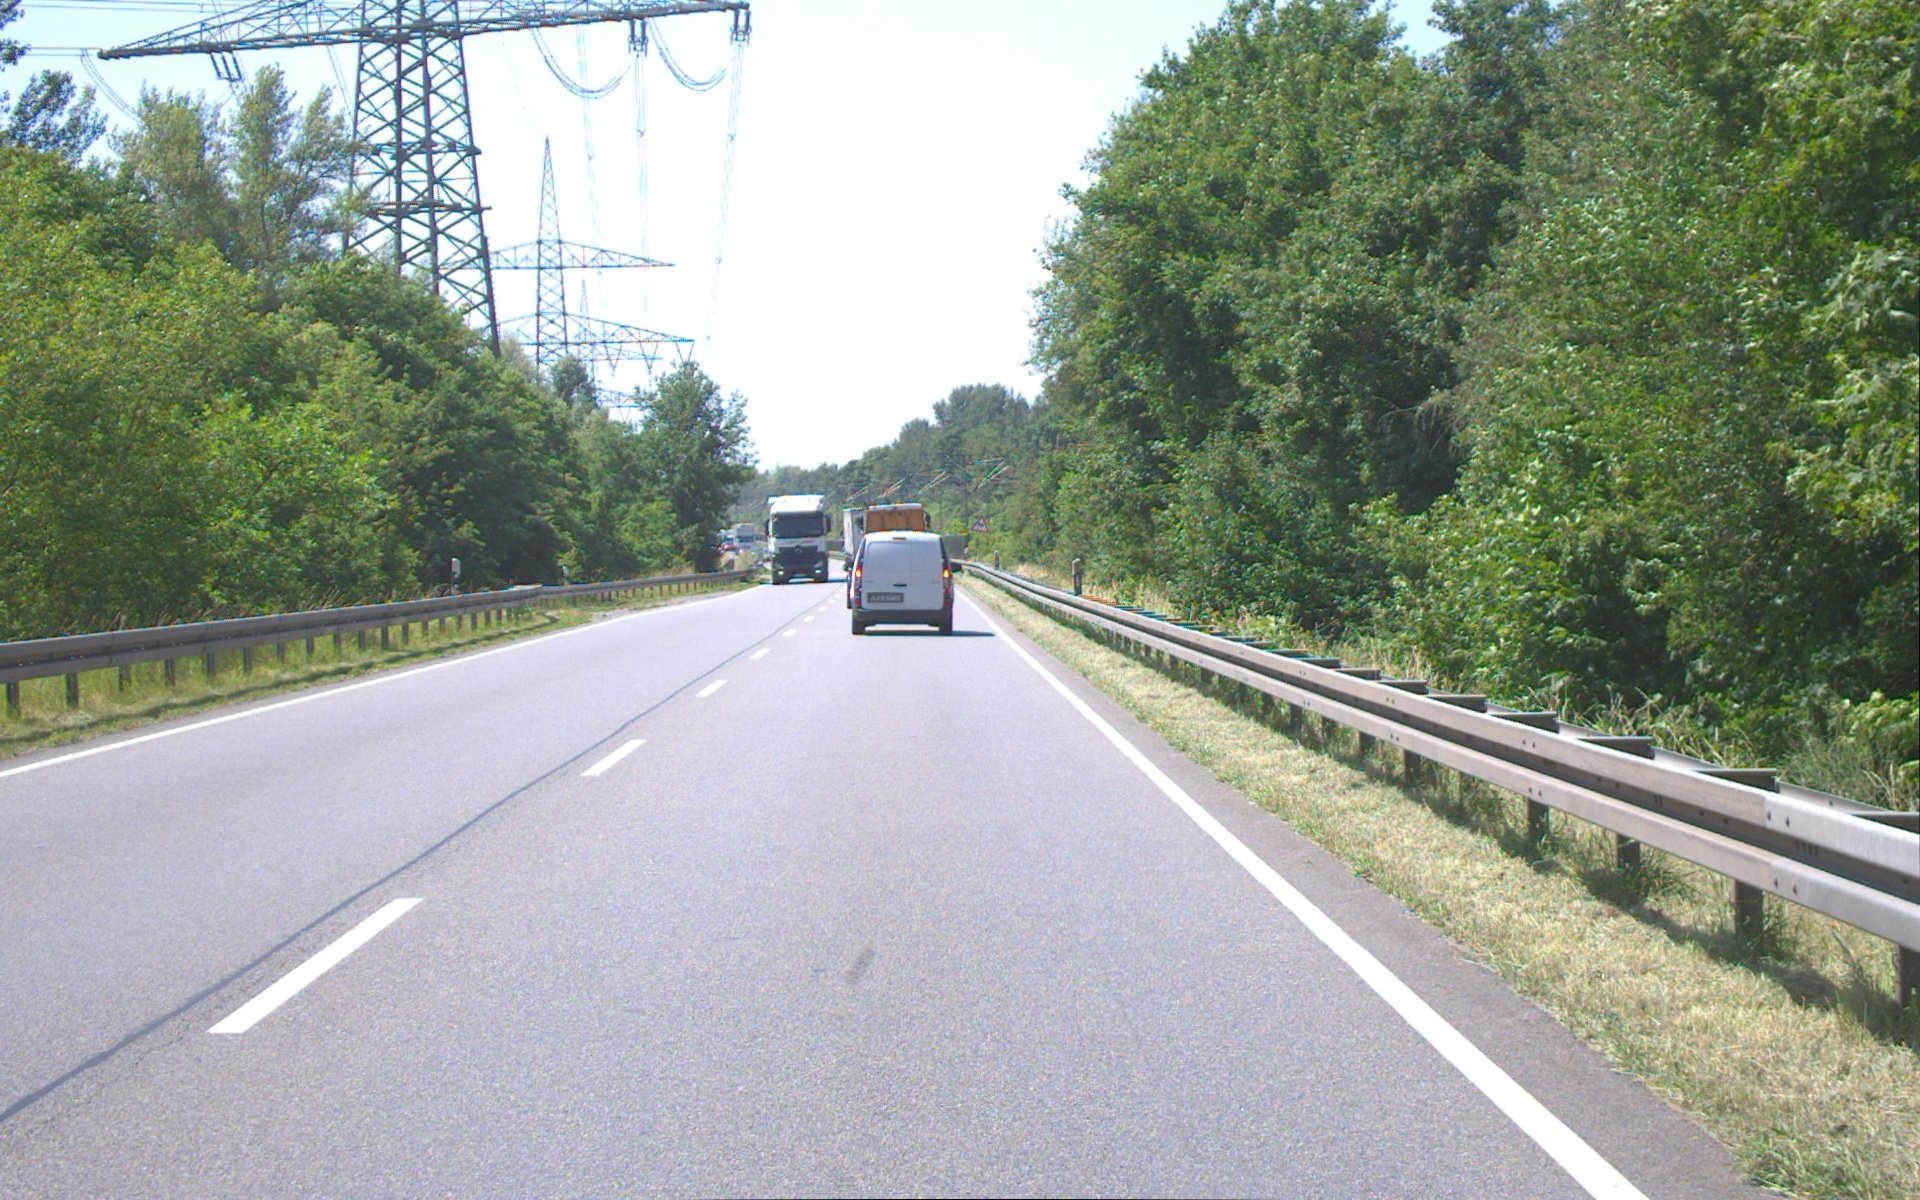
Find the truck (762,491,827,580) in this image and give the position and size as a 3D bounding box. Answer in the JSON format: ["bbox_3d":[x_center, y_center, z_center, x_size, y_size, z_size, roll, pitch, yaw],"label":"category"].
[{"bbox_3d":[-7.540,-2.936,157.108,2.763,3.985,5.907,1,1,-1],"label":"truck"}]

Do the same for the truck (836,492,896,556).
[{"bbox_3d":[-6.096,-4.967,220.313,3.402,3.841,16.821,1,2,-3],"label":"truck"}]

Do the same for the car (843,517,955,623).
[{"bbox_3d":[-1.068,-0.559,60.272,1.875,1.735,4.001,1,2,-1],"label":"car"}]

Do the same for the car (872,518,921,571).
[{"bbox_3d":[-2.460,-2.166,132.970,1.763,2.007,4.001,0,1,-3],"label":"car"}]

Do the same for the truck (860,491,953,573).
[{"bbox_3d":[-2.344,-2.935,144.387,3.296,3.161,14.407,1,2,-3],"label":"truck"}]
